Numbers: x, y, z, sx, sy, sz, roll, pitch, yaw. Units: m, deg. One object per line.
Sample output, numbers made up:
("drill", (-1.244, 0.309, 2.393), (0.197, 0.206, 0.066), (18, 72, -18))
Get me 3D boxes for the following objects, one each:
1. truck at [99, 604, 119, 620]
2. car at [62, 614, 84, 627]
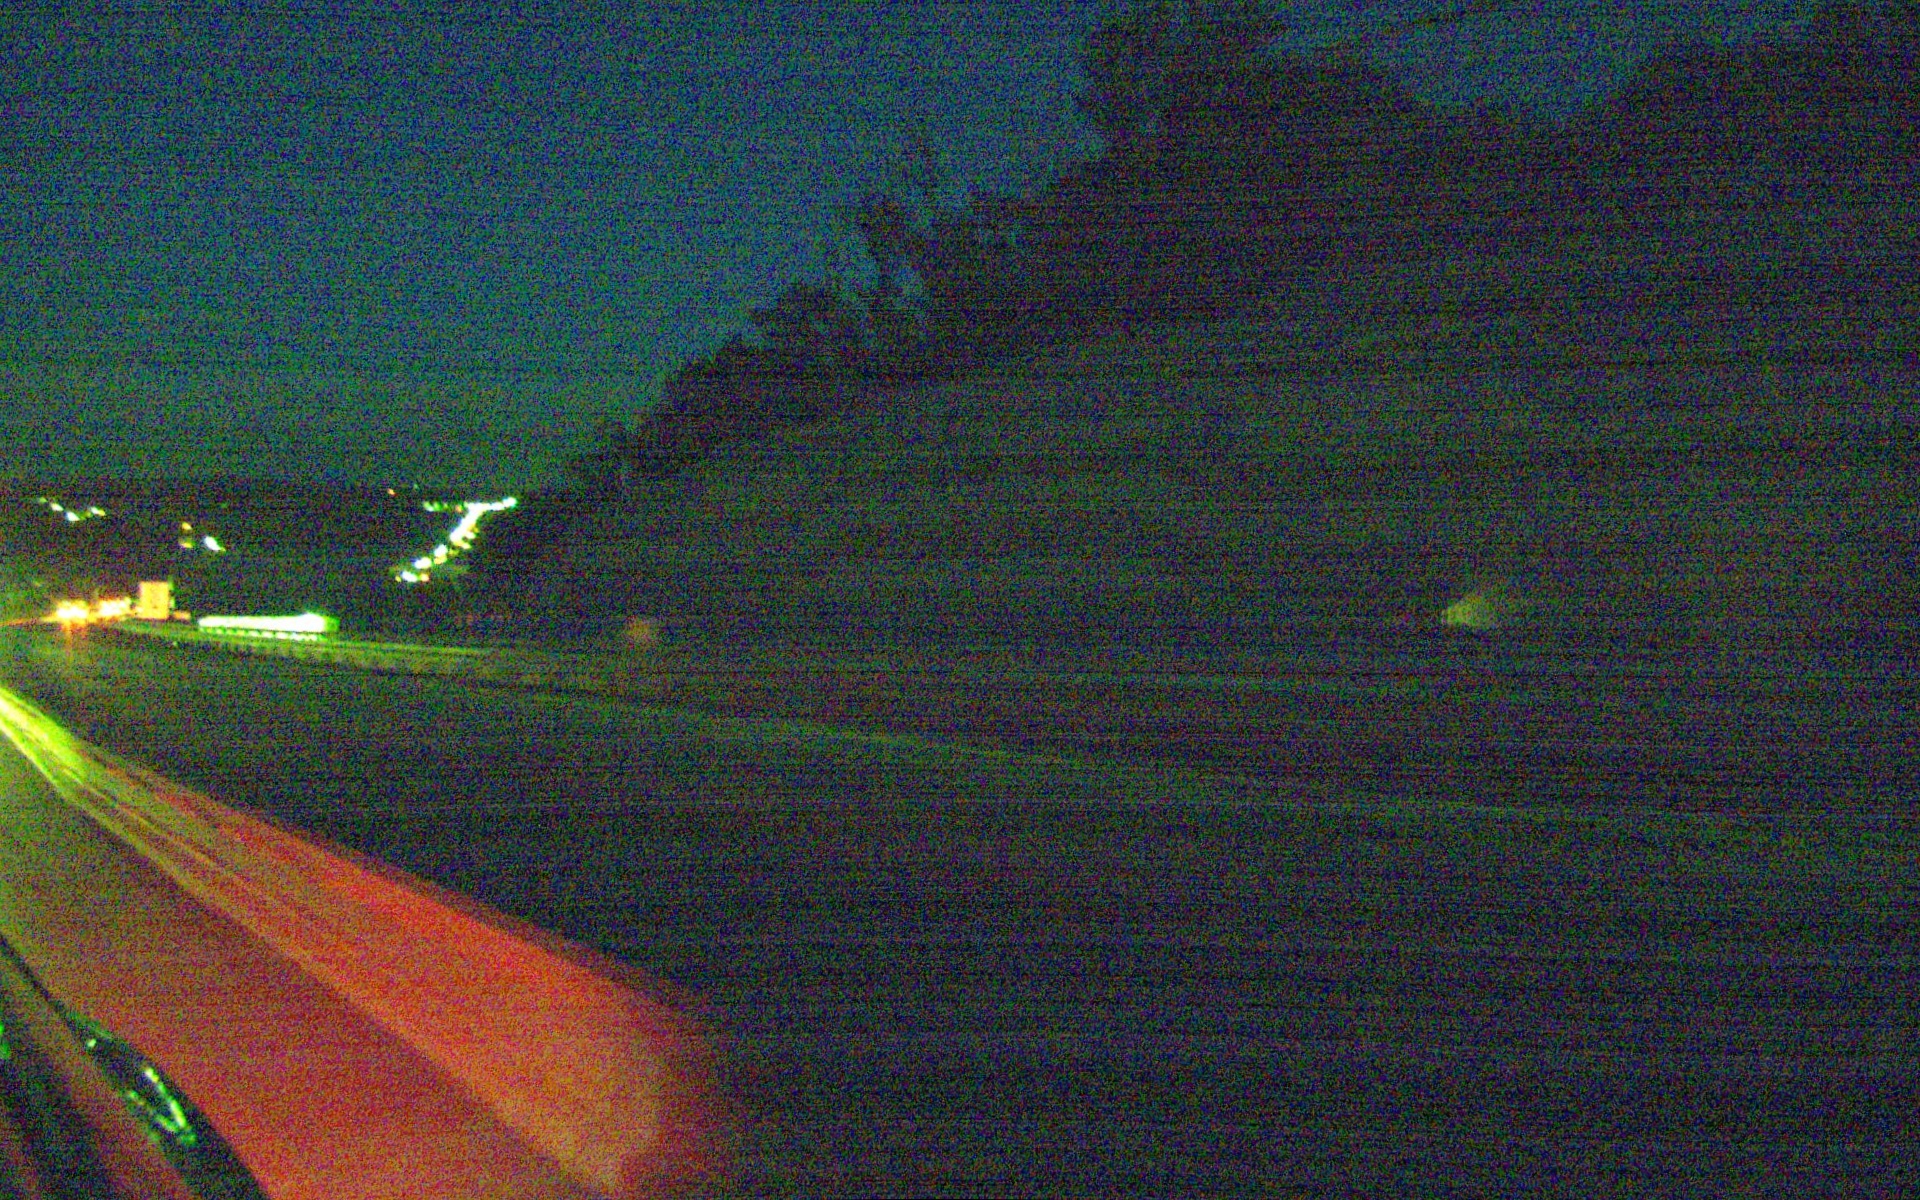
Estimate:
("truck", (-139.579, 1.908, 166.011), (2.271, 2.493, 6.286), (0, 1, -37))
("car", (-111.835, 2.561, 127.583), (1.784, 1.529, 3.944), (0, -2, -37))
